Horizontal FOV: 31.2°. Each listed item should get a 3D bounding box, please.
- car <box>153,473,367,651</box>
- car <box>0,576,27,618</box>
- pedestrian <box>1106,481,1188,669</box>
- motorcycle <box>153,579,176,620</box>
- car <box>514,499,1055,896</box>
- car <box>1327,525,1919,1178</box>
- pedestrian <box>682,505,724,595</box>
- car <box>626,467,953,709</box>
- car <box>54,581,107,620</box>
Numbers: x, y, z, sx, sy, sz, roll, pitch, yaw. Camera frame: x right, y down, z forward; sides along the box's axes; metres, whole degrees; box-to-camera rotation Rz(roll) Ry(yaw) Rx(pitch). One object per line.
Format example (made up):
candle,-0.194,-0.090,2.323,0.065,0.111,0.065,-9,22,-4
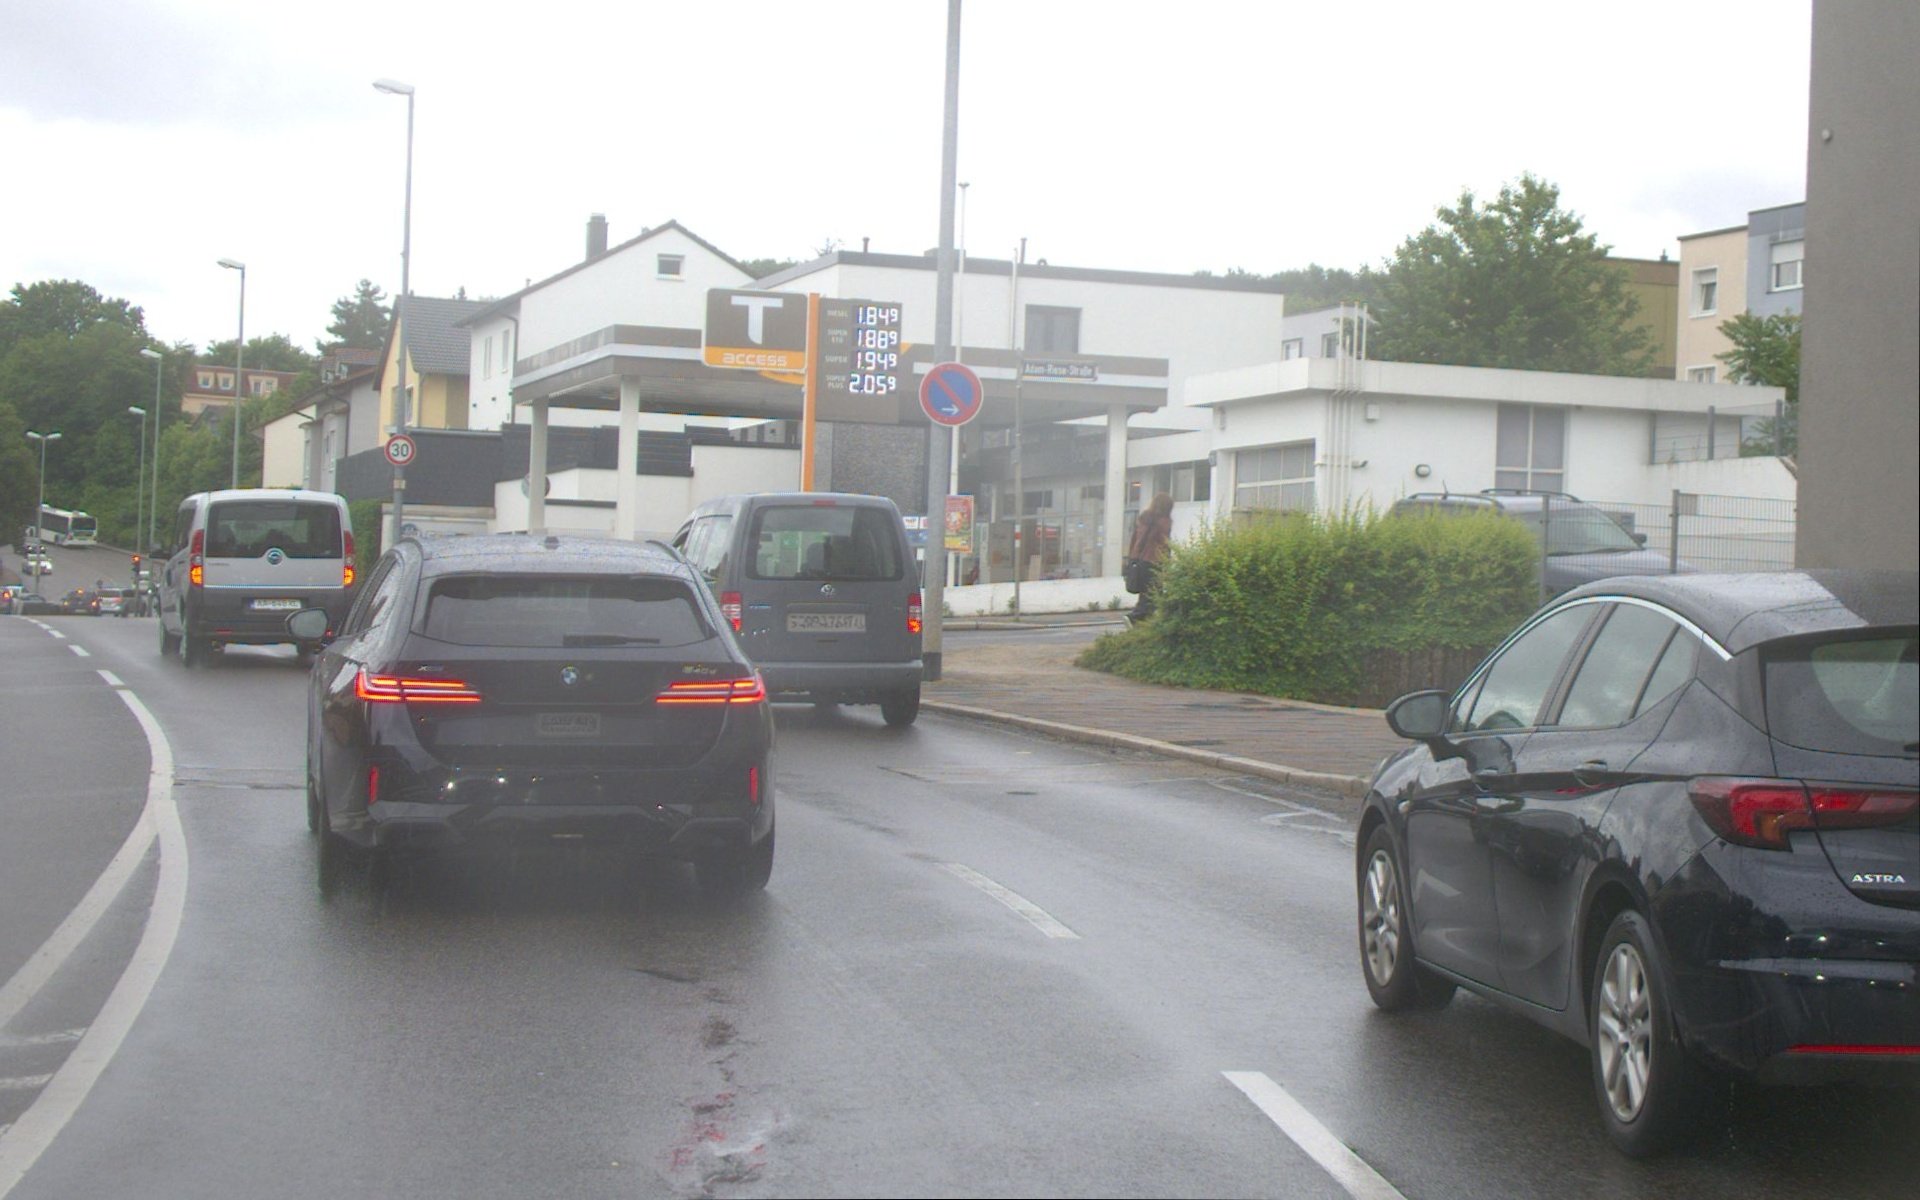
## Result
car,-7.601,-0.363,37.066,1.993,1.732,4.001,3,-1,-14
car,-42.162,-0.153,151.086,1.993,1.735,4.001,3,-1,-13
pedestrian,2.039,-0.267,37.542,0.715,2.007,0.615,2,-1,-7
motorcycle,-30.076,-0.007,129.974,0.703,1.504,2.151,0,-1,-16
car,-0.932,0.418,15.449,1.993,1.479,4.001,2,-1,-8
car,2.358,0.600,9.746,1.756,1.444,4.001,2,-1,-6
pedestrian,-4.816,-0.933,64.390,0.609,1.650,0.586,3,-1,-17
car,-1.475,-0.060,28.120,1.838,1.761,4.001,3,-1,-14
car,-41.589,0.027,162.463,1.993,1.735,4.001,3,-1,-20
